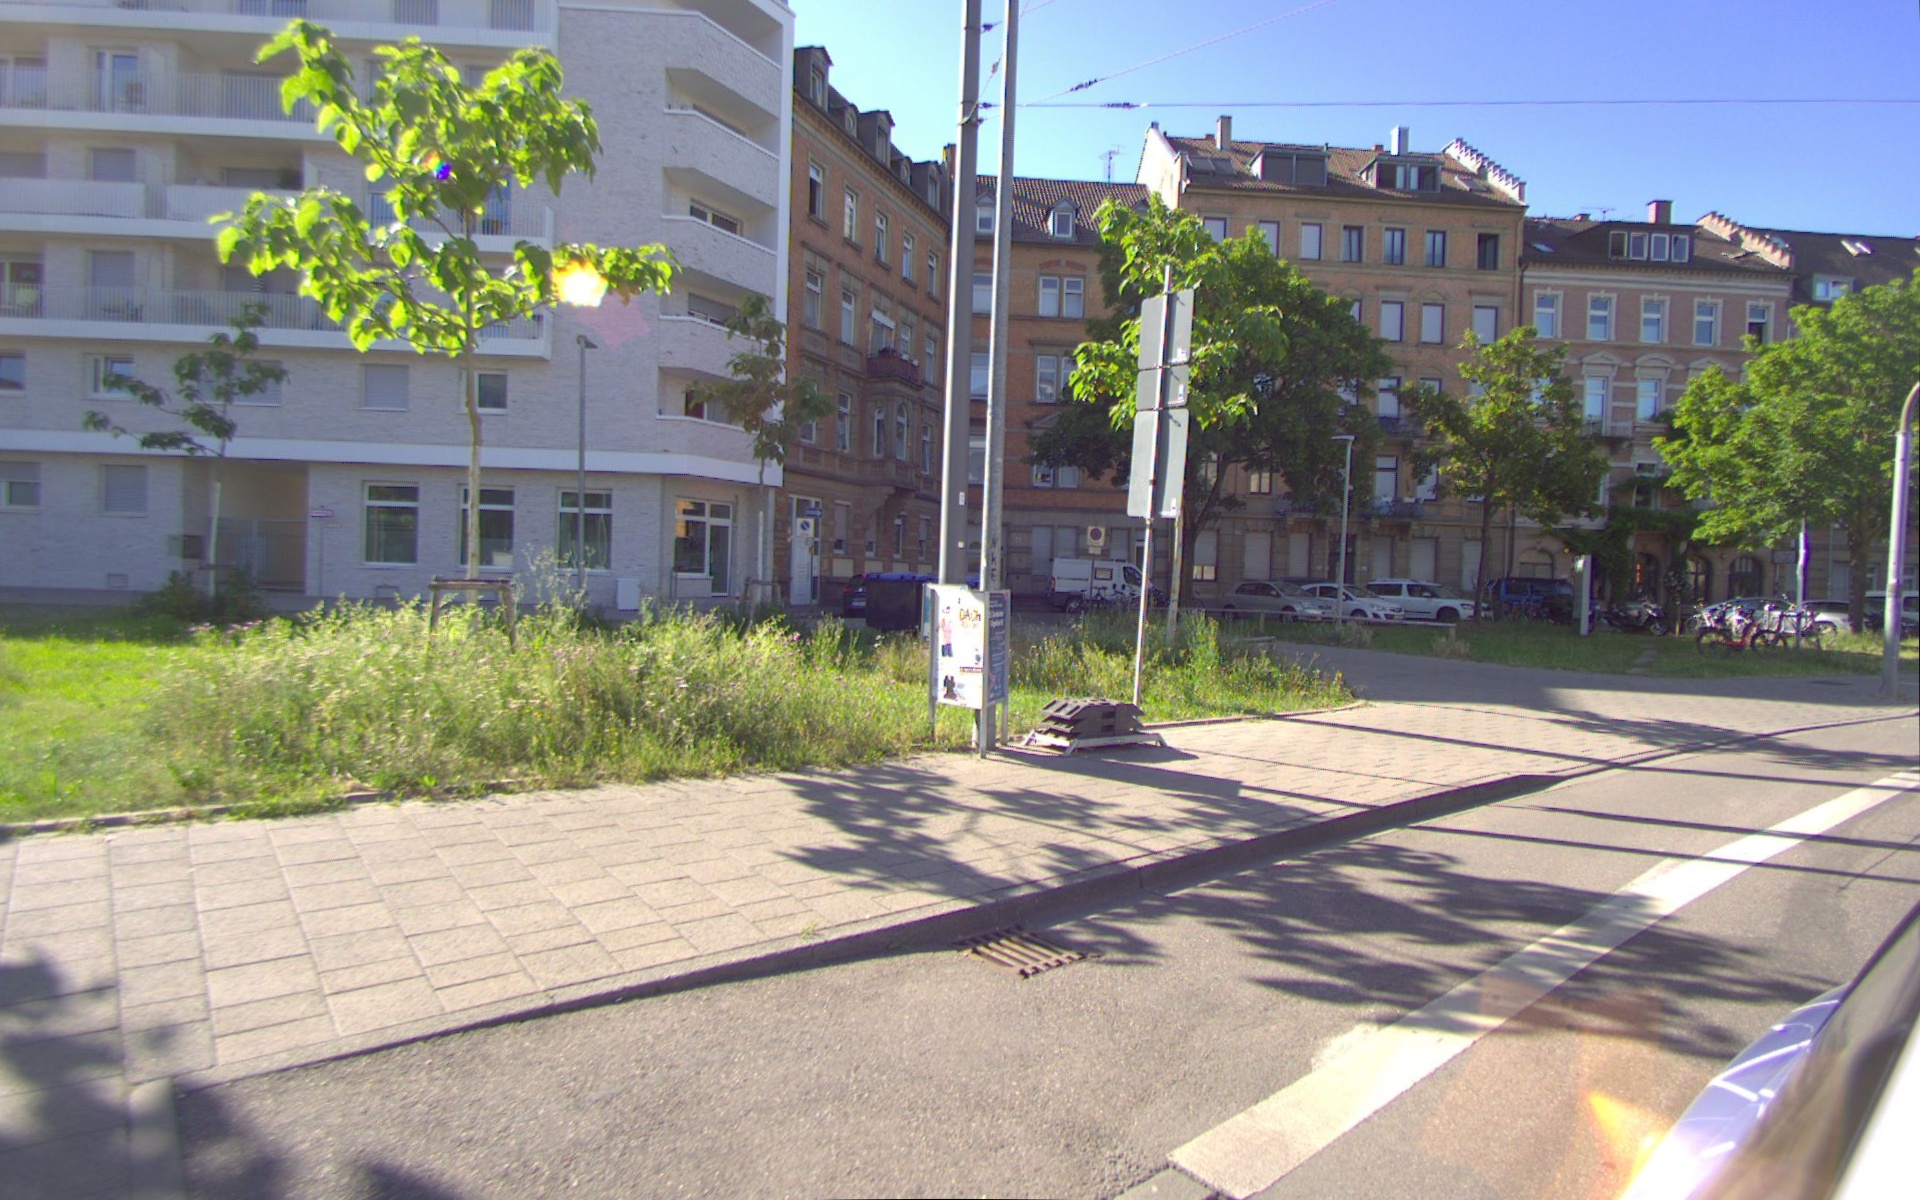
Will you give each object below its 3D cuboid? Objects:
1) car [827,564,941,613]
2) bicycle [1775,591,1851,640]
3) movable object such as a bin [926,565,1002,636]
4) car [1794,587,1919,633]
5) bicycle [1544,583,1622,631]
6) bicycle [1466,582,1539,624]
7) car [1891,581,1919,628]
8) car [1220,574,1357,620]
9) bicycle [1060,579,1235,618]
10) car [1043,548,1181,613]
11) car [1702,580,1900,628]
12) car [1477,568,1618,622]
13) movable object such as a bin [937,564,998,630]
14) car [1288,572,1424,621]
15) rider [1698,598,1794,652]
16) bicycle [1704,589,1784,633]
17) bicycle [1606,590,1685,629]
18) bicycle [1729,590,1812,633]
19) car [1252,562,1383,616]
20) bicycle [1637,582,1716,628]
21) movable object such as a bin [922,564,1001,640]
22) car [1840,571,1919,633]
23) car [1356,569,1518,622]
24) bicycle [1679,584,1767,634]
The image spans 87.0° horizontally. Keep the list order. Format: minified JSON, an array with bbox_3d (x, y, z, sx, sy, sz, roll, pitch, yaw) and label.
[{"bbox_3d":[-2.353,-0.378,32.583,1.978,1.454,4.074,1,1,24],"label":"car"},{"bbox_3d":[24.891,0.435,29.568,1.589,1.306,0.760,4,3,38],"label":"bicycle"},{"bbox_3d":[0.093,-0.011,21.361,1.303,1.416,1.105,2,1,17],"label":"movable object such as a bin"},{"bbox_3d":[31.048,0.327,34.556,1.889,1.397,3.614,1,1,-36],"label":"car"},{"bbox_3d":[19.520,0.188,31.772,0.771,1.416,2.105,1,1,-14],"label":"bicycle"},{"bbox_3d":[18.960,0.089,35.433,0.774,1.382,2.096,0,1,-43],"label":"bicycle"},{"bbox_3d":[36.464,0.278,35.727,2.059,1.667,4.887,0,4,-32],"label":"car"},{"bbox_3d":[10.534,-0.123,32.730,1.802,1.354,4.063,1,1,-28],"label":"car"},{"bbox_3d":[6.182,-0.074,33.862,5.115,1.141,2.688,1,1,-8],"label":"bicycle"},{"bbox_3d":[6.134,-0.825,41.285,5.087,2.386,2.359,2,3,-2],"label":"car"},{"bbox_3d":[28.214,0.092,34.112,2.007,1.397,4.753,1,1,-36],"label":"car"},{"bbox_3d":[24.591,-0.221,42.469,4.632,2.001,2.002,2,3,-2],"label":"car"},{"bbox_3d":[0.178,-0.077,22.665,1.076,1.416,1.026,2,1,17],"label":"movable object such as a bin"},{"bbox_3d":[12.904,-0.156,33.203,1.726,1.459,3.846,1,1,-34],"label":"car"},{"bbox_3d":[18.224,0.580,23.497,1.651,1.191,0.501,-2,0,15],"label":"rider"},{"bbox_3d":[24.302,0.325,31.423,0.825,1.206,1.966,1,3,-3],"label":"bicycle"},{"bbox_3d":[21.730,0.280,32.141,0.806,1.173,2.172,1,1,-7],"label":"bicycle"},{"bbox_3d":[25.204,0.336,31.529,0.882,1.195,1.953,1,3,-3],"label":"bicycle"},{"bbox_3d":[14.842,-0.492,42.161,4.632,2.001,2.002,2,3,-2],"label":"car"},{"bbox_3d":[22.727,0.135,32.151,0.771,1.382,2.103,1,1,-8],"label":"bicycle"},{"bbox_3d":[0.048,0.017,20.083,1.286,1.416,1.066,2,1,18],"label":"movable object such as a bin"},{"bbox_3d":[33.867,0.122,34.929,2.062,2.037,4.882,-1,4,-36],"label":"car"},{"bbox_3d":[15.669,-0.181,33.461,1.900,1.585,4.473,1,1,-34],"label":"car"},{"bbox_3d":[22.461,0.243,29.838,0.771,1.382,2.103,1,1,-8],"label":"bicycle"}]
